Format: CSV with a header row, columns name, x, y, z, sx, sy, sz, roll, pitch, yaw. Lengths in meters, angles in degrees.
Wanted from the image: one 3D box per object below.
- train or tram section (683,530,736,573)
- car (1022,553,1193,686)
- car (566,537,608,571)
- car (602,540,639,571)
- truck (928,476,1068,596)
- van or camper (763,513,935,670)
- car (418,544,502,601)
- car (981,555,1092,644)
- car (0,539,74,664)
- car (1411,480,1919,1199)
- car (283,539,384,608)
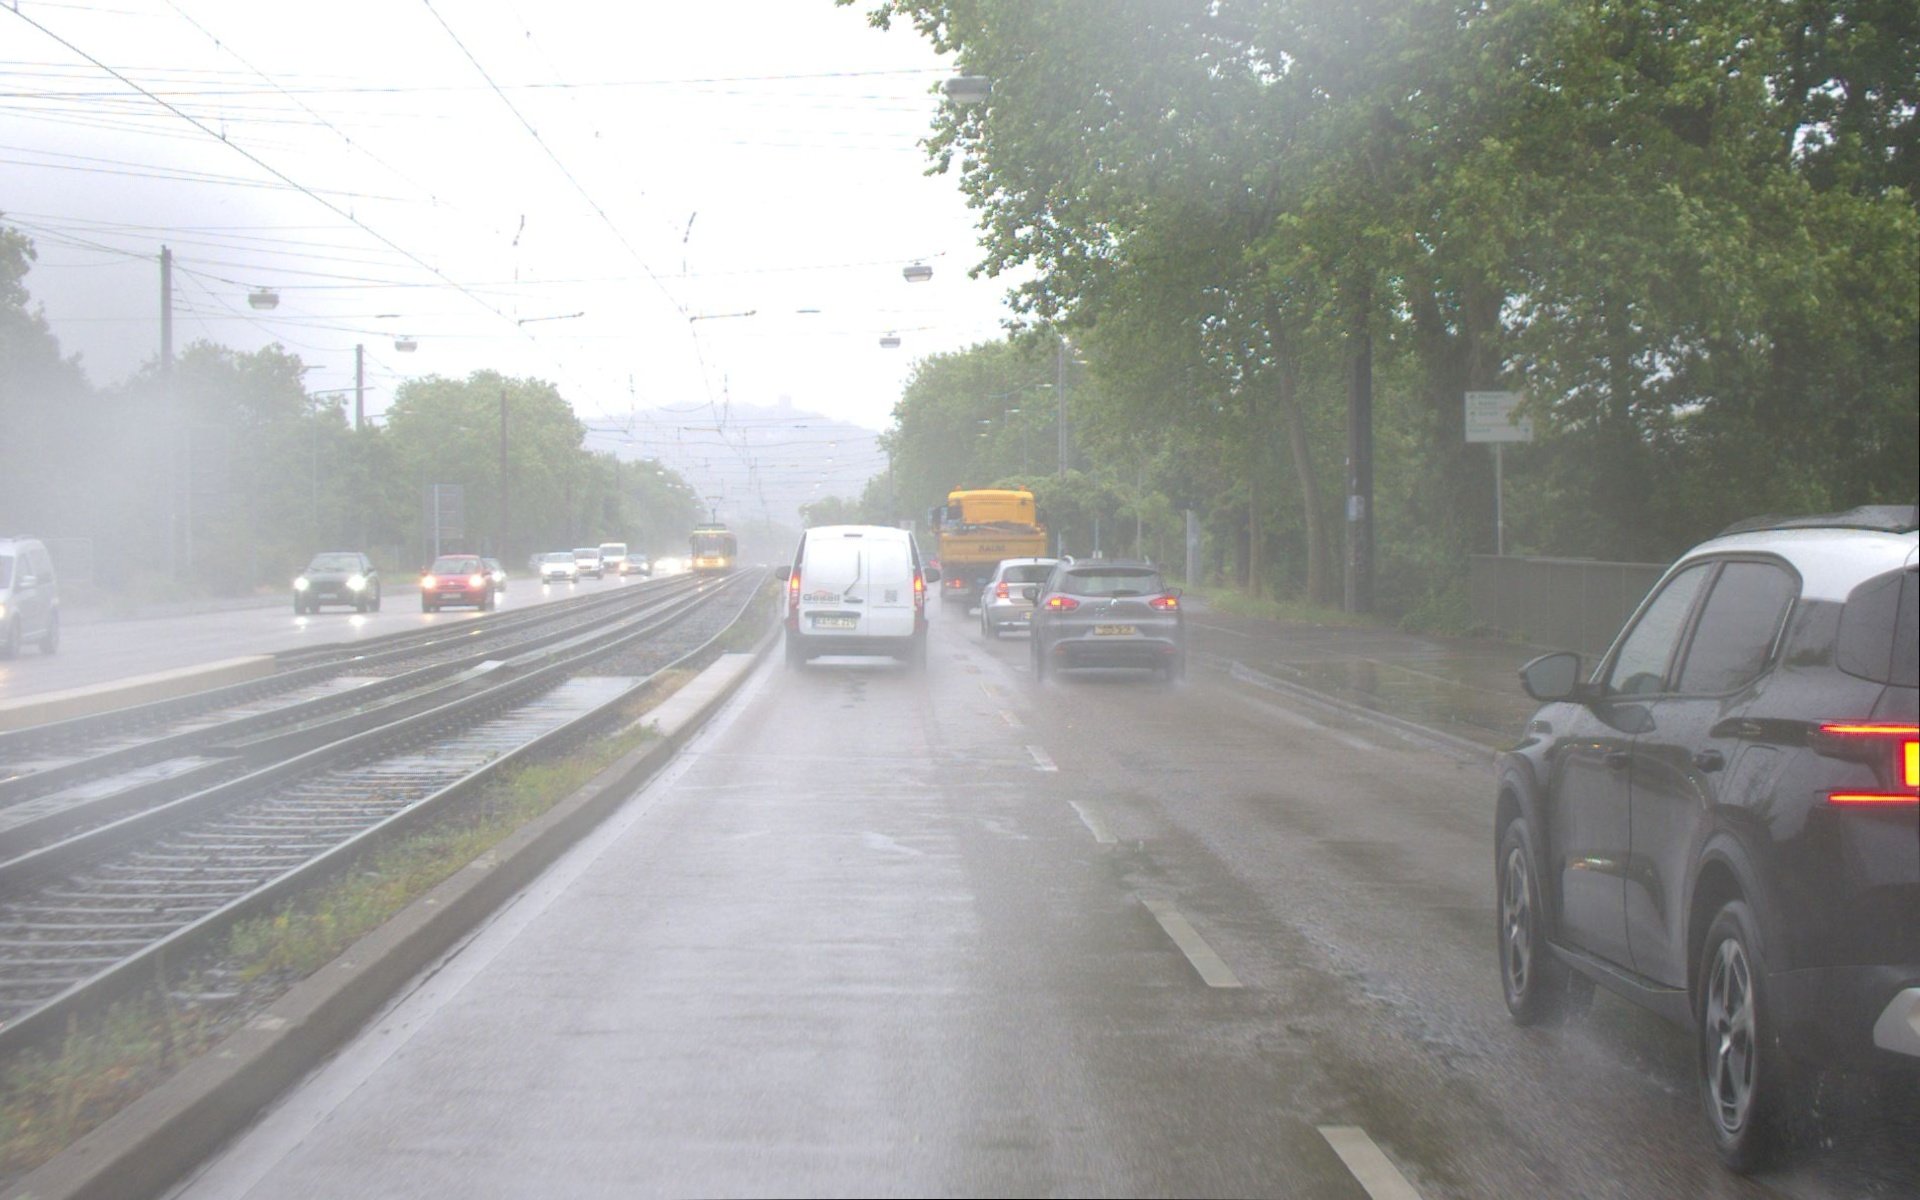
name,x,y,z,sx,sy,sz,roll,pitch,yaw
train or tram section,-17.560,-3.437,241.680,2.850,2.884,14.008,-1,1,-1
car,1.714,0.199,41.006,1.818,1.409,3.779,1,2,-1
car,-21.856,-2.688,201.428,1.993,1.897,4.000,1,1,0
car,-21.952,-2.887,222.546,1.993,1.897,4.000,1,1,0
truck,0.859,-1.566,83.077,3.112,2.763,6.330,1,1,-1
van or camper,-1.448,-0.152,43.358,1.993,1.778,4.001,1,2,-4
car,-13.345,-0.755,91.961,1.657,1.481,4.013,0,1,0
car,1.319,-0.038,60.788,1.818,1.409,3.779,1,2,-1
car,-15.010,-0.013,52.252,1.993,1.809,4.660,0,1,-2
car,2.636,0.542,9.571,1.899,1.711,4.726,1,2,-3
car,-17.007,-0.747,93.473,1.993,1.809,4.000,0,1,0
